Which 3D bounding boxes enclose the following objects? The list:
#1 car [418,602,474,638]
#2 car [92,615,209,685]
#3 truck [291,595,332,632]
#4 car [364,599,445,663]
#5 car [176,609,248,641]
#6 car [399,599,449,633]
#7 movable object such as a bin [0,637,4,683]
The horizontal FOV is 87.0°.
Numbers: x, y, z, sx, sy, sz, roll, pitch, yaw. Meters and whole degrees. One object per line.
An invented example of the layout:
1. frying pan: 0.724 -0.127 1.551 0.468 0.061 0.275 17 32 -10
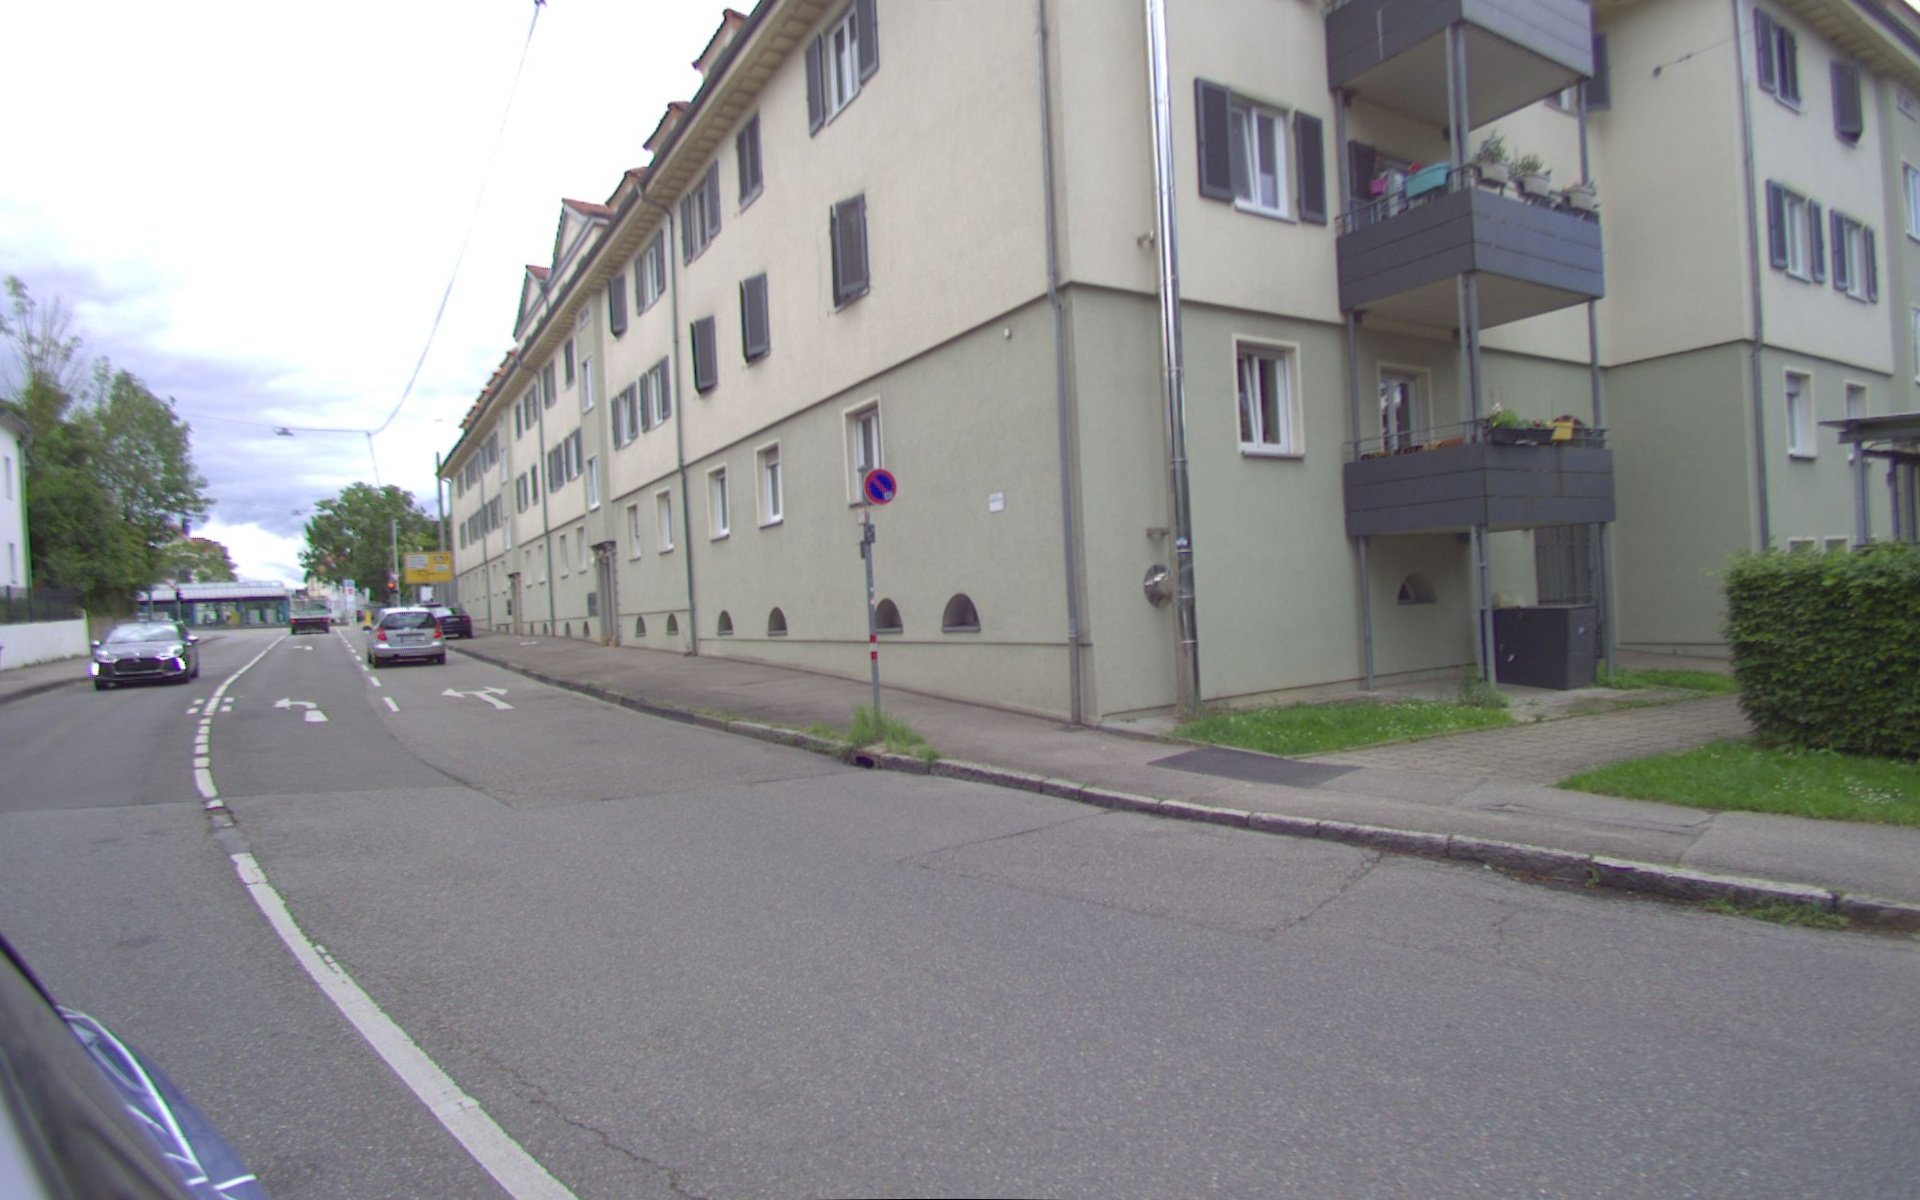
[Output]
1. car: -22.882 0.887 44.966 1.687 1.413 4.859 -2 0 -33
2. car: -18.816 1.109 23.679 1.619 1.408 3.793 -2 1 -31
3. truck: -41.799 0.901 65.325 2.092 2.218 6.608 -1 -1 -32
4. car: -15.677 0.825 28.471 1.699 1.617 3.988 -2 0 -33
5. car: -52.010 1.702 70.410 3.935 2.029 2.005 -2 1 -36
6. car: -28.762 0.885 54.221 1.797 1.645 4.709 -4 1 -34
7. movable object such as a bin: -25.293 1.566 26.297 0.520 1.187 0.636 2 -2 -34
